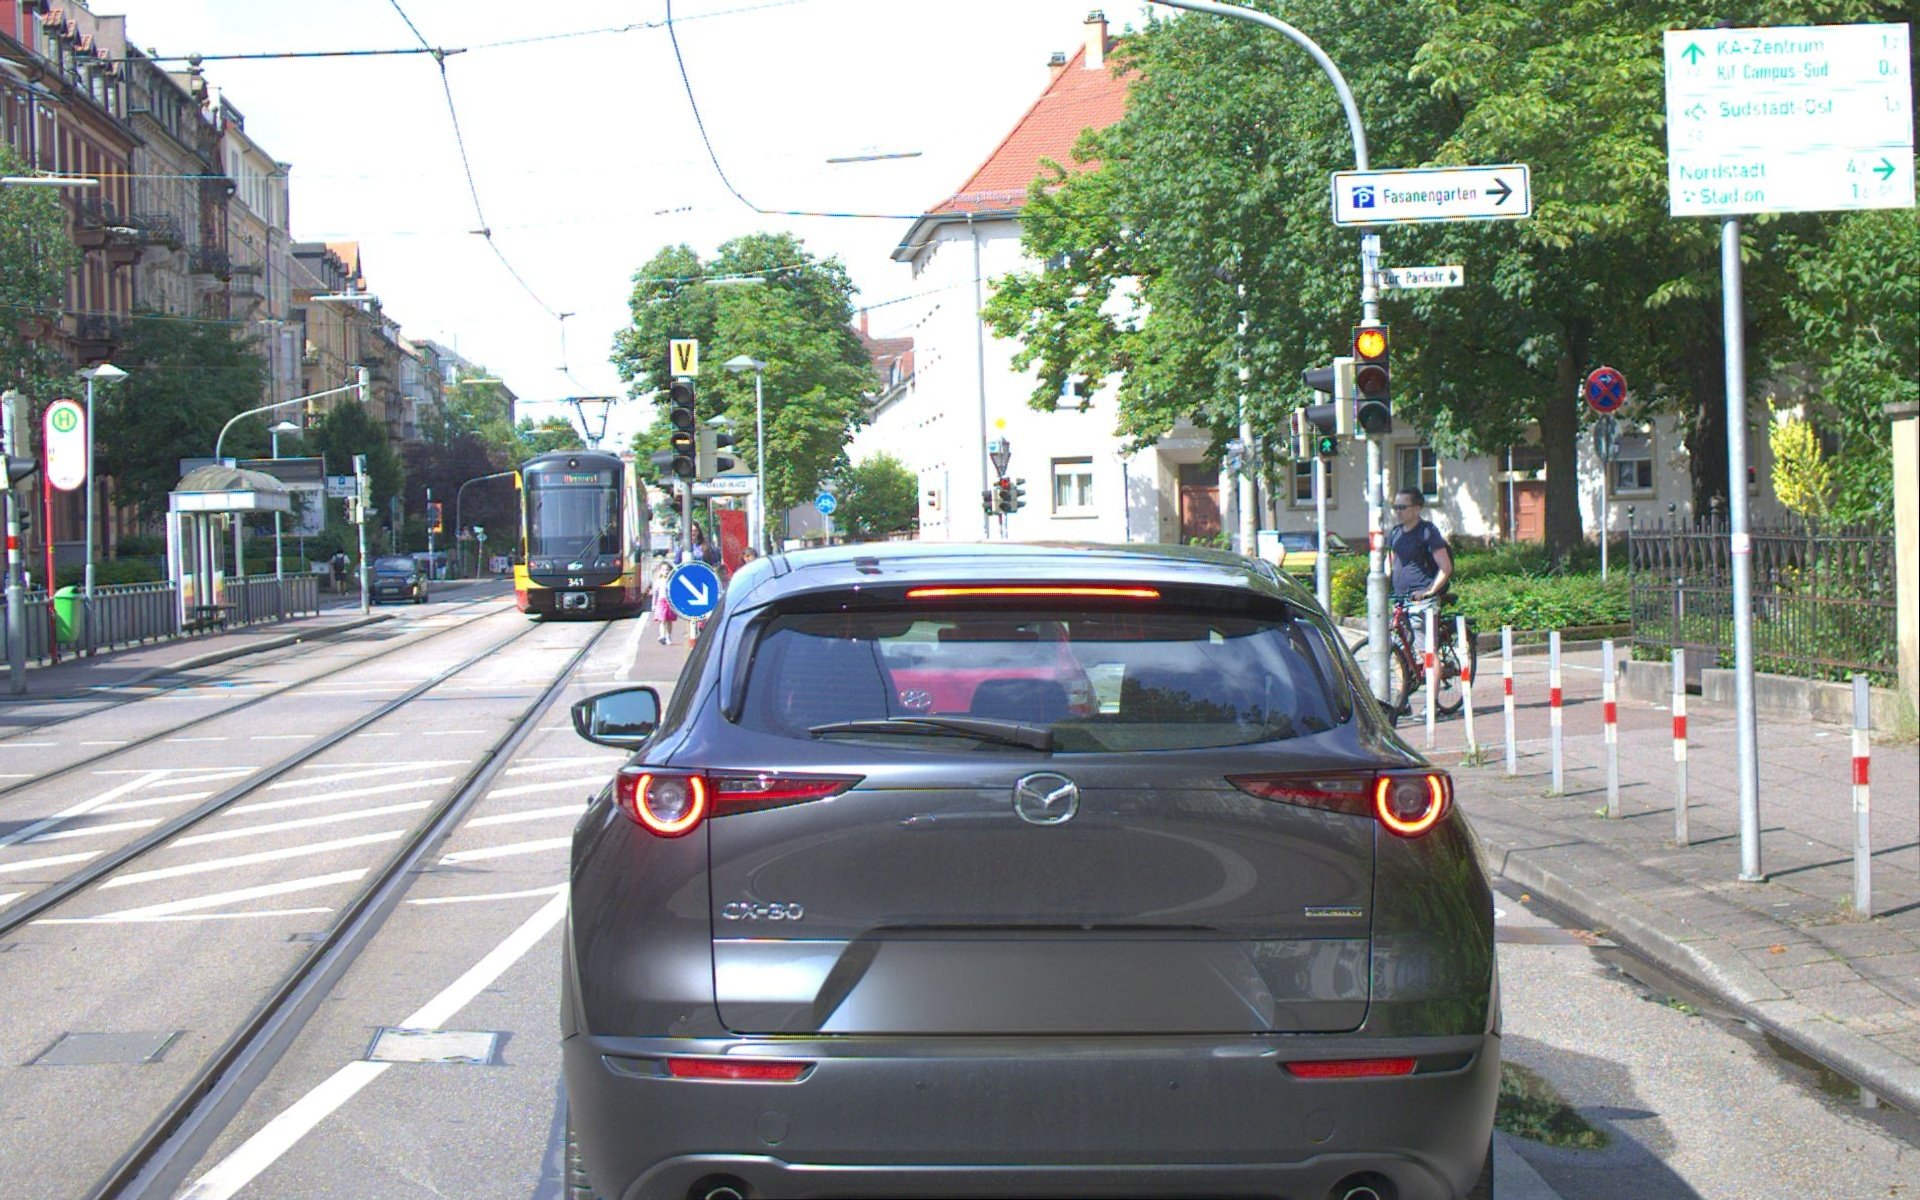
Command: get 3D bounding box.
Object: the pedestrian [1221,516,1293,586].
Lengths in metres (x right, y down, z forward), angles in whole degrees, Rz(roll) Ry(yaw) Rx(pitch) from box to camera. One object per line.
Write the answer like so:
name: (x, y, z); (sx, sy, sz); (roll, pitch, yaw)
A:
pedestrian: (5.693, -0.936, 65.892); (1.192, 1.264, 0.558); (-4, 1, -9)

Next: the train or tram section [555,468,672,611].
train or tram section: (-10.337, -1.729, 103.783); (2.997, 3.970, 13.811); (-2, 0, -4)

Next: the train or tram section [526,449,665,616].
train or tram section: (-9.417, -1.654, 90.098); (2.997, 3.970, 13.811); (-2, 0, -4)

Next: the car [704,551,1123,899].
car: (-0.292, 0.504, 16.492); (1.775, 1.459, 3.843); (0, 1, -3)

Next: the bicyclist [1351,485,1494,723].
bicyclist: (3.608, 0.025, 26.842); (0.733, 1.813, 0.820); (-2, 1, -27)

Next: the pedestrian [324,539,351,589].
pedestrian: (-21.424, -1.244, 118.390); (0.788, 1.682, 0.732); (-1, 1, -3)

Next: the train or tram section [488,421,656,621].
train or tram section: (-8.442, -1.615, 76.328); (2.997, 3.970, 13.811); (-2, 0, -4)

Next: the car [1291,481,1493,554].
car: (9.838, -1.876, 78.369); (4.167, 1.504, 1.848); (0, 3, 38)

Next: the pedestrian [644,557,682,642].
pedestrian: (-3.993, -0.012, 46.148); (0.422, 1.104, 0.439); (-4, 1, -7)

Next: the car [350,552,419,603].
car: (-17.131, -0.687, 102.413); (1.624, 1.382, 3.436); (-3, 1, -3)

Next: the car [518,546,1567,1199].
car: (0.090, 0.649, 7.881); (1.782, 1.509, 4.000); (1, 1, -1)

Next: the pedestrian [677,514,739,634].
pedestrian: (-3.368, -0.352, 45.949); (0.728, 1.560, 0.799); (-2, 1, -9)

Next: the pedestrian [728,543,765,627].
pedestrian: (-2.887, -0.206, 46.394); (0.442, 1.110, 0.643); (-2, 1, -6)

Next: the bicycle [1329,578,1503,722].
bicycle: (3.594, 0.379, 26.990); (0.389, 1.032, 1.841); (-1, 2, 40)

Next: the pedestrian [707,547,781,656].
pedestrian: (-2.704, 0.016, 43.114); (0.715, 1.299, 0.828); (-3, 1, 6)
